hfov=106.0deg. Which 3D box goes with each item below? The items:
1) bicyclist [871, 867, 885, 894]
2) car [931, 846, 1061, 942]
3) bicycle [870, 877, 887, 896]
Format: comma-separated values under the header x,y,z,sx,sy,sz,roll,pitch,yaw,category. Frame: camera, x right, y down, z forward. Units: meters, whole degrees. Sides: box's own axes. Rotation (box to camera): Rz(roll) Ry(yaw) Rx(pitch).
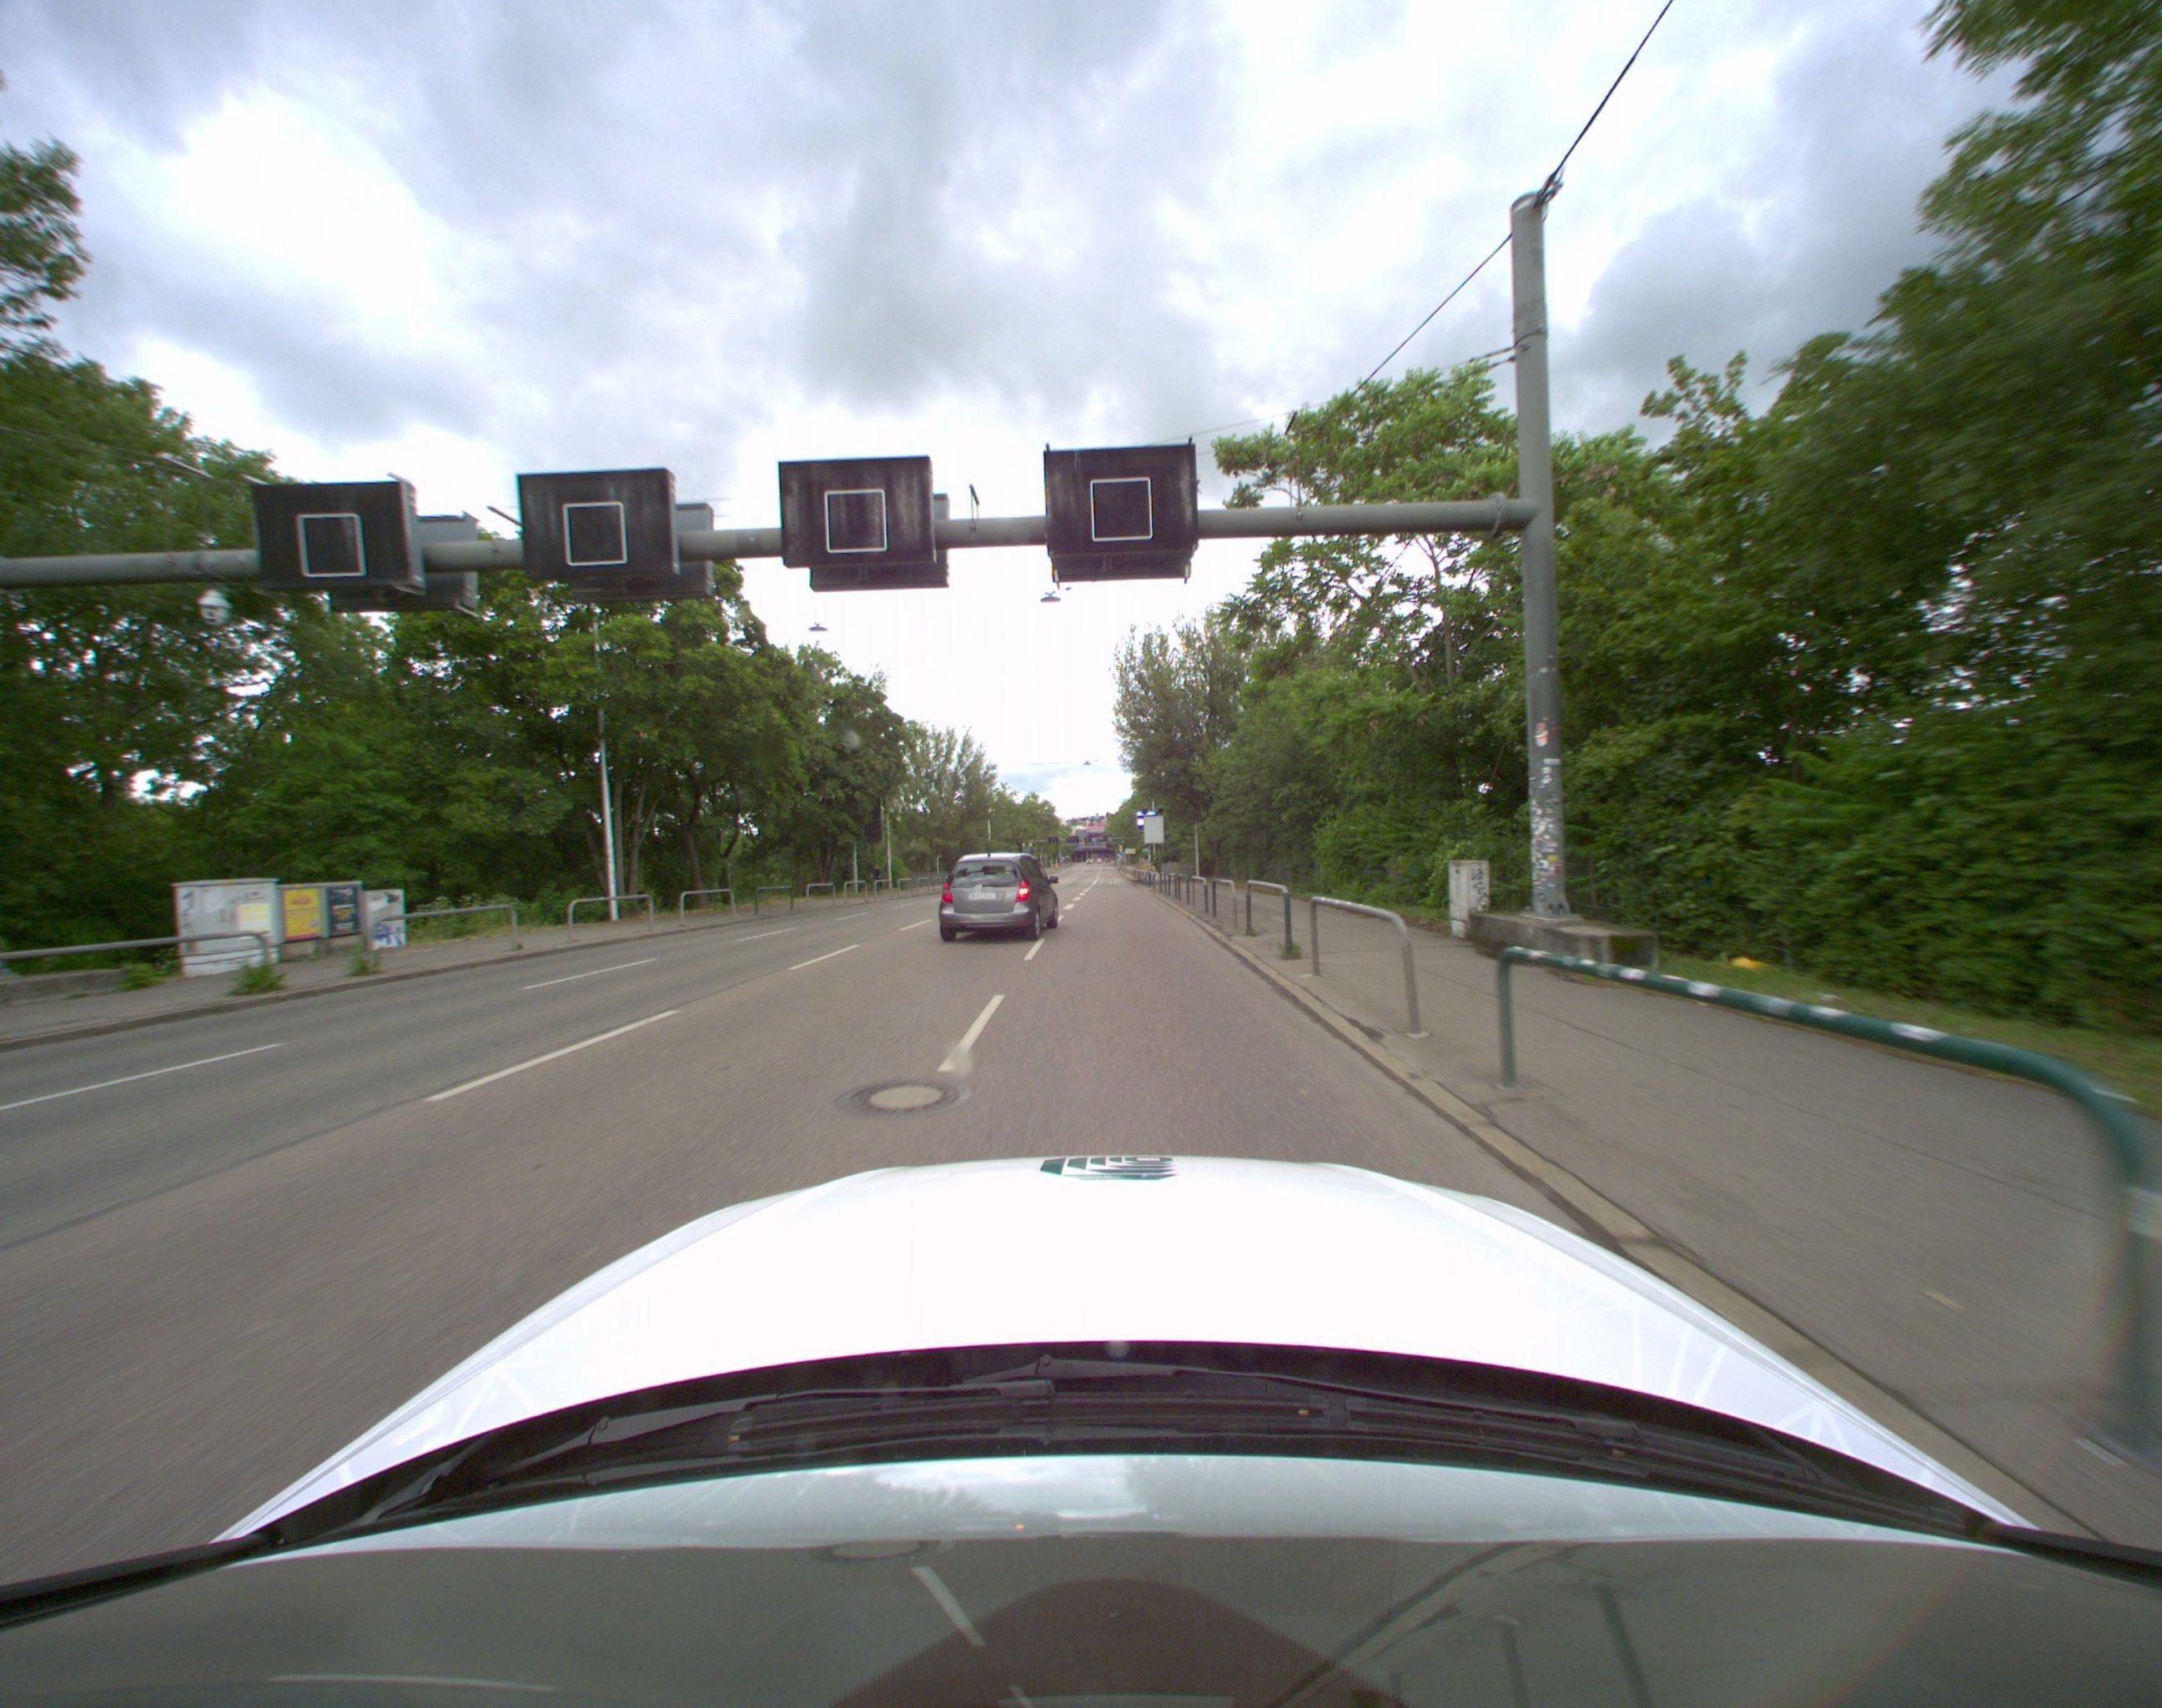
x,y,z,sx,sy,sz,roll,pitch,yaw,category
-11.805,1.541,47.426,0.513,1.516,0.984,-3,-1,1,bicyclist
-1.514,0.726,15.930,1.818,1.616,4.038,-1,-1,4,car
-11.797,1.897,47.489,0.483,1.002,2.002,-3,-1,1,bicycle
